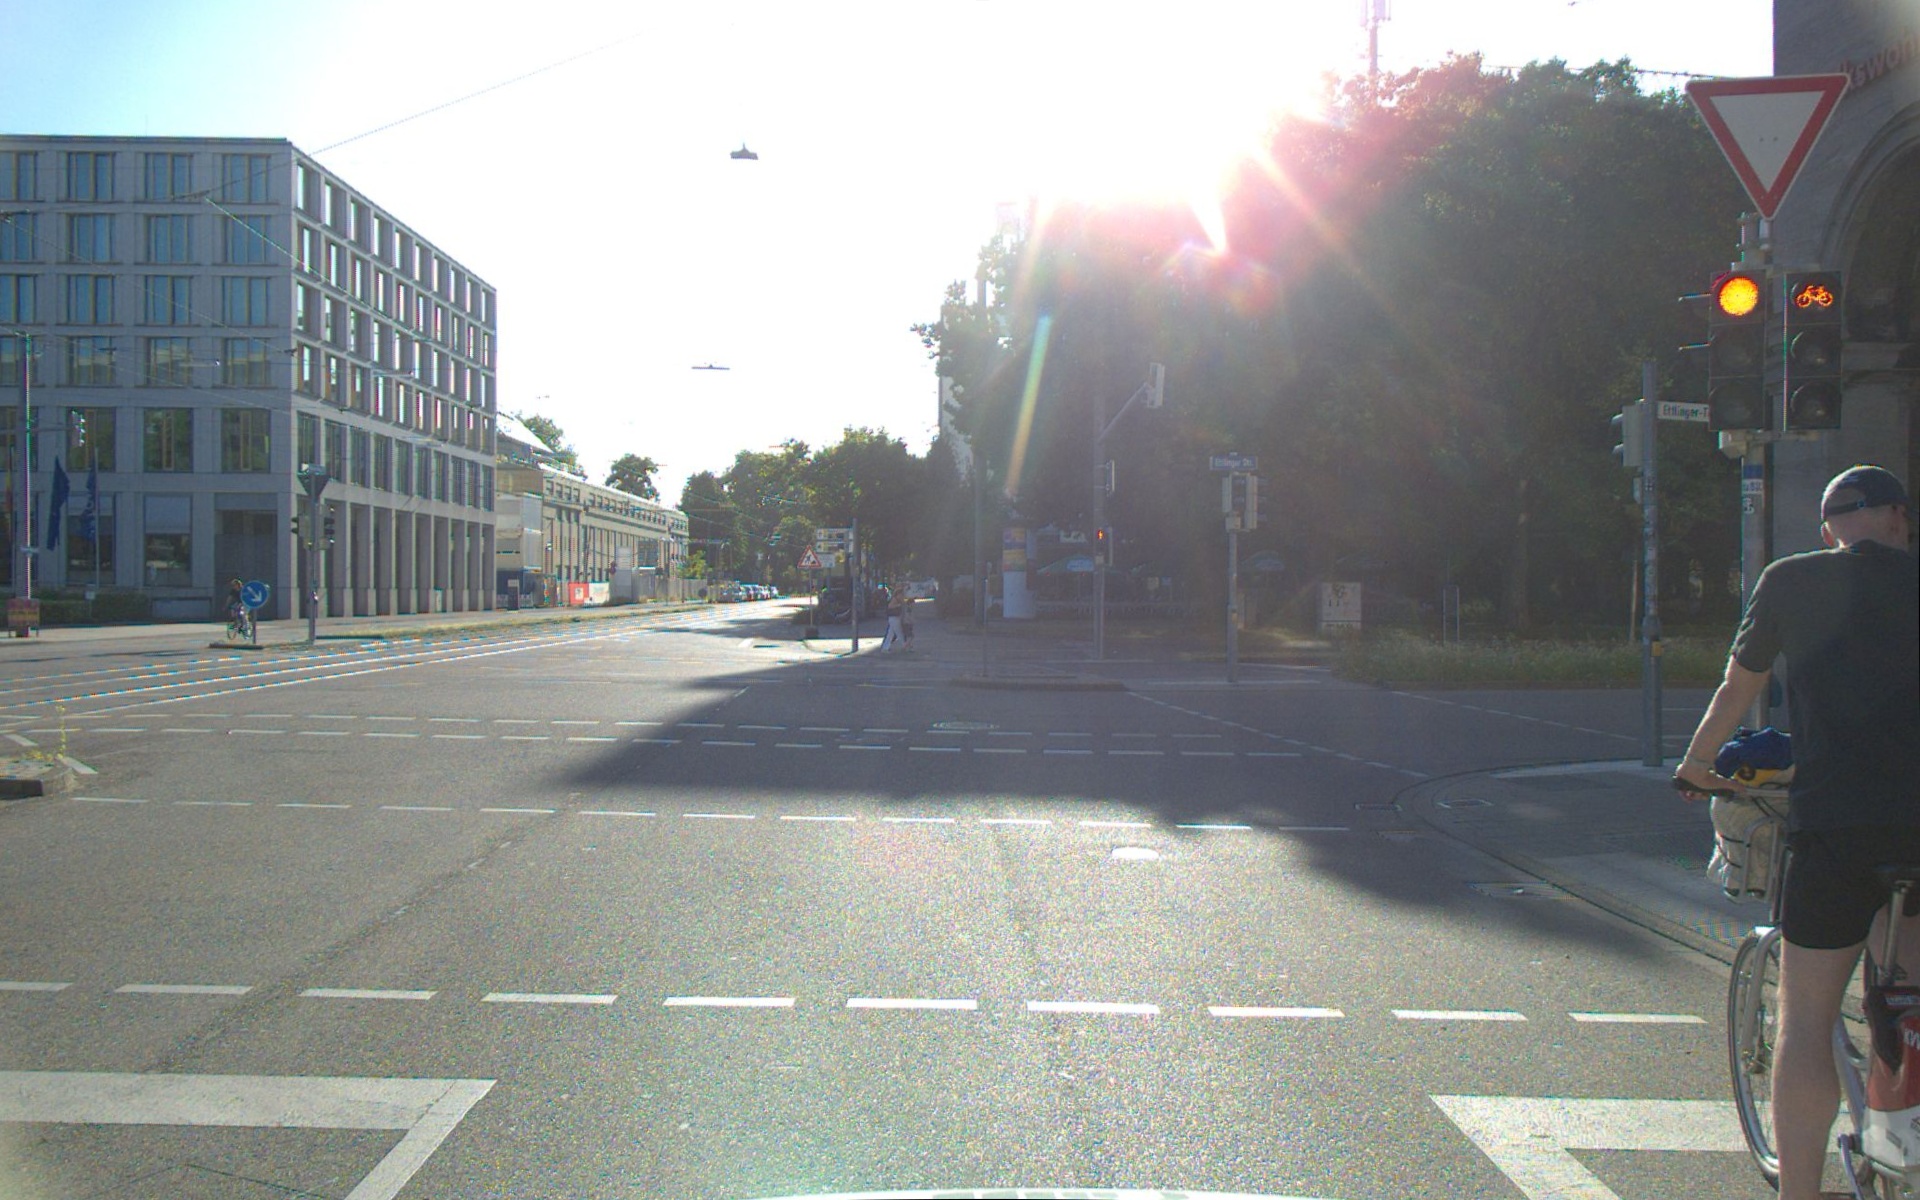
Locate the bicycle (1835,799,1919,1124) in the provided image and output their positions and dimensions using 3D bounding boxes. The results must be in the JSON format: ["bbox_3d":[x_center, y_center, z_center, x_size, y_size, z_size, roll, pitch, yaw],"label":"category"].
[{"bbox_3d":[3.007,1.092,4.367,0.418,0.891,1.951,0,0,2],"label":"bicycle"}]

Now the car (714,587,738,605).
[{"bbox_3d":[-22.030,-0.356,155.915,1.695,1.682,3.999,0,0,-1],"label":"car"}]

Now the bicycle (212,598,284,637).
[{"bbox_3d":[-21.273,0.508,49.497,0.857,1.140,3.013,0,0,0],"label":"bicycle"}]

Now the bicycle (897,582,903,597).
[{"bbox_3d":[-3.557,-0.646,98.415,0.317,0.883,1.483,0,0,-1],"label":"bicycle"}]

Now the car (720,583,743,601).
[{"bbox_3d":[-22.048,-0.800,159.858,1.695,1.682,3.999,0,0,-1],"label":"car"}]

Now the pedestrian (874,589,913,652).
[{"bbox_3d":[-1.741,0.531,43.306,0.964,1.615,0.660,0,-1,1],"label":"pedestrian"}]

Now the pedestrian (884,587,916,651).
[{"bbox_3d":[-1.585,0.491,43.727,0.779,1.668,0.533,0,0,2],"label":"pedestrian"}]

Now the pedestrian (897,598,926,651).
[{"bbox_3d":[-1.248,0.621,43.030,0.737,1.356,0.742,0,0,-1],"label":"pedestrian"}]

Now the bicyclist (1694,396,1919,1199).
[{"bbox_3d":[2.128,0.425,3.776,0.655,1.707,0.657,0,0,7],"label":"bicyclist"}]

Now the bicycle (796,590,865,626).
[{"bbox_3d":[-5.232,0.330,67.056,2.688,1.391,0.631,1,-1,10],"label":"bicycle"}]

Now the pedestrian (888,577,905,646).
[{"bbox_3d":[-1.712,0.314,44.600,0.353,1.836,0.507,0,0,11],"label":"pedestrian"}]

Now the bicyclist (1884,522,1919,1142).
[{"bbox_3d":[2.887,0.640,4.293,0.511,1.709,0.859,0,0,2],"label":"bicyclist"}]

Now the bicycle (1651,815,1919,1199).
[{"bbox_3d":[2.120,1.104,3.932,0.381,0.921,1.952,0,0,8],"label":"bicycle"}]

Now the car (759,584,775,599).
[{"bbox_3d":[-22.664,-0.981,194.127,1.453,1.780,3.999,0,0,-1],"label":"car"}]

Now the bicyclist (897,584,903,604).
[{"bbox_3d":[-3.564,-0.346,98.293,0.312,1.147,0.291,0,0,-1],"label":"bicyclist"}]

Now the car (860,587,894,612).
[{"bbox_3d":[-4.438,-0.053,88.947,1.783,1.301,3.998,0,0,-3],"label":"car"}]
